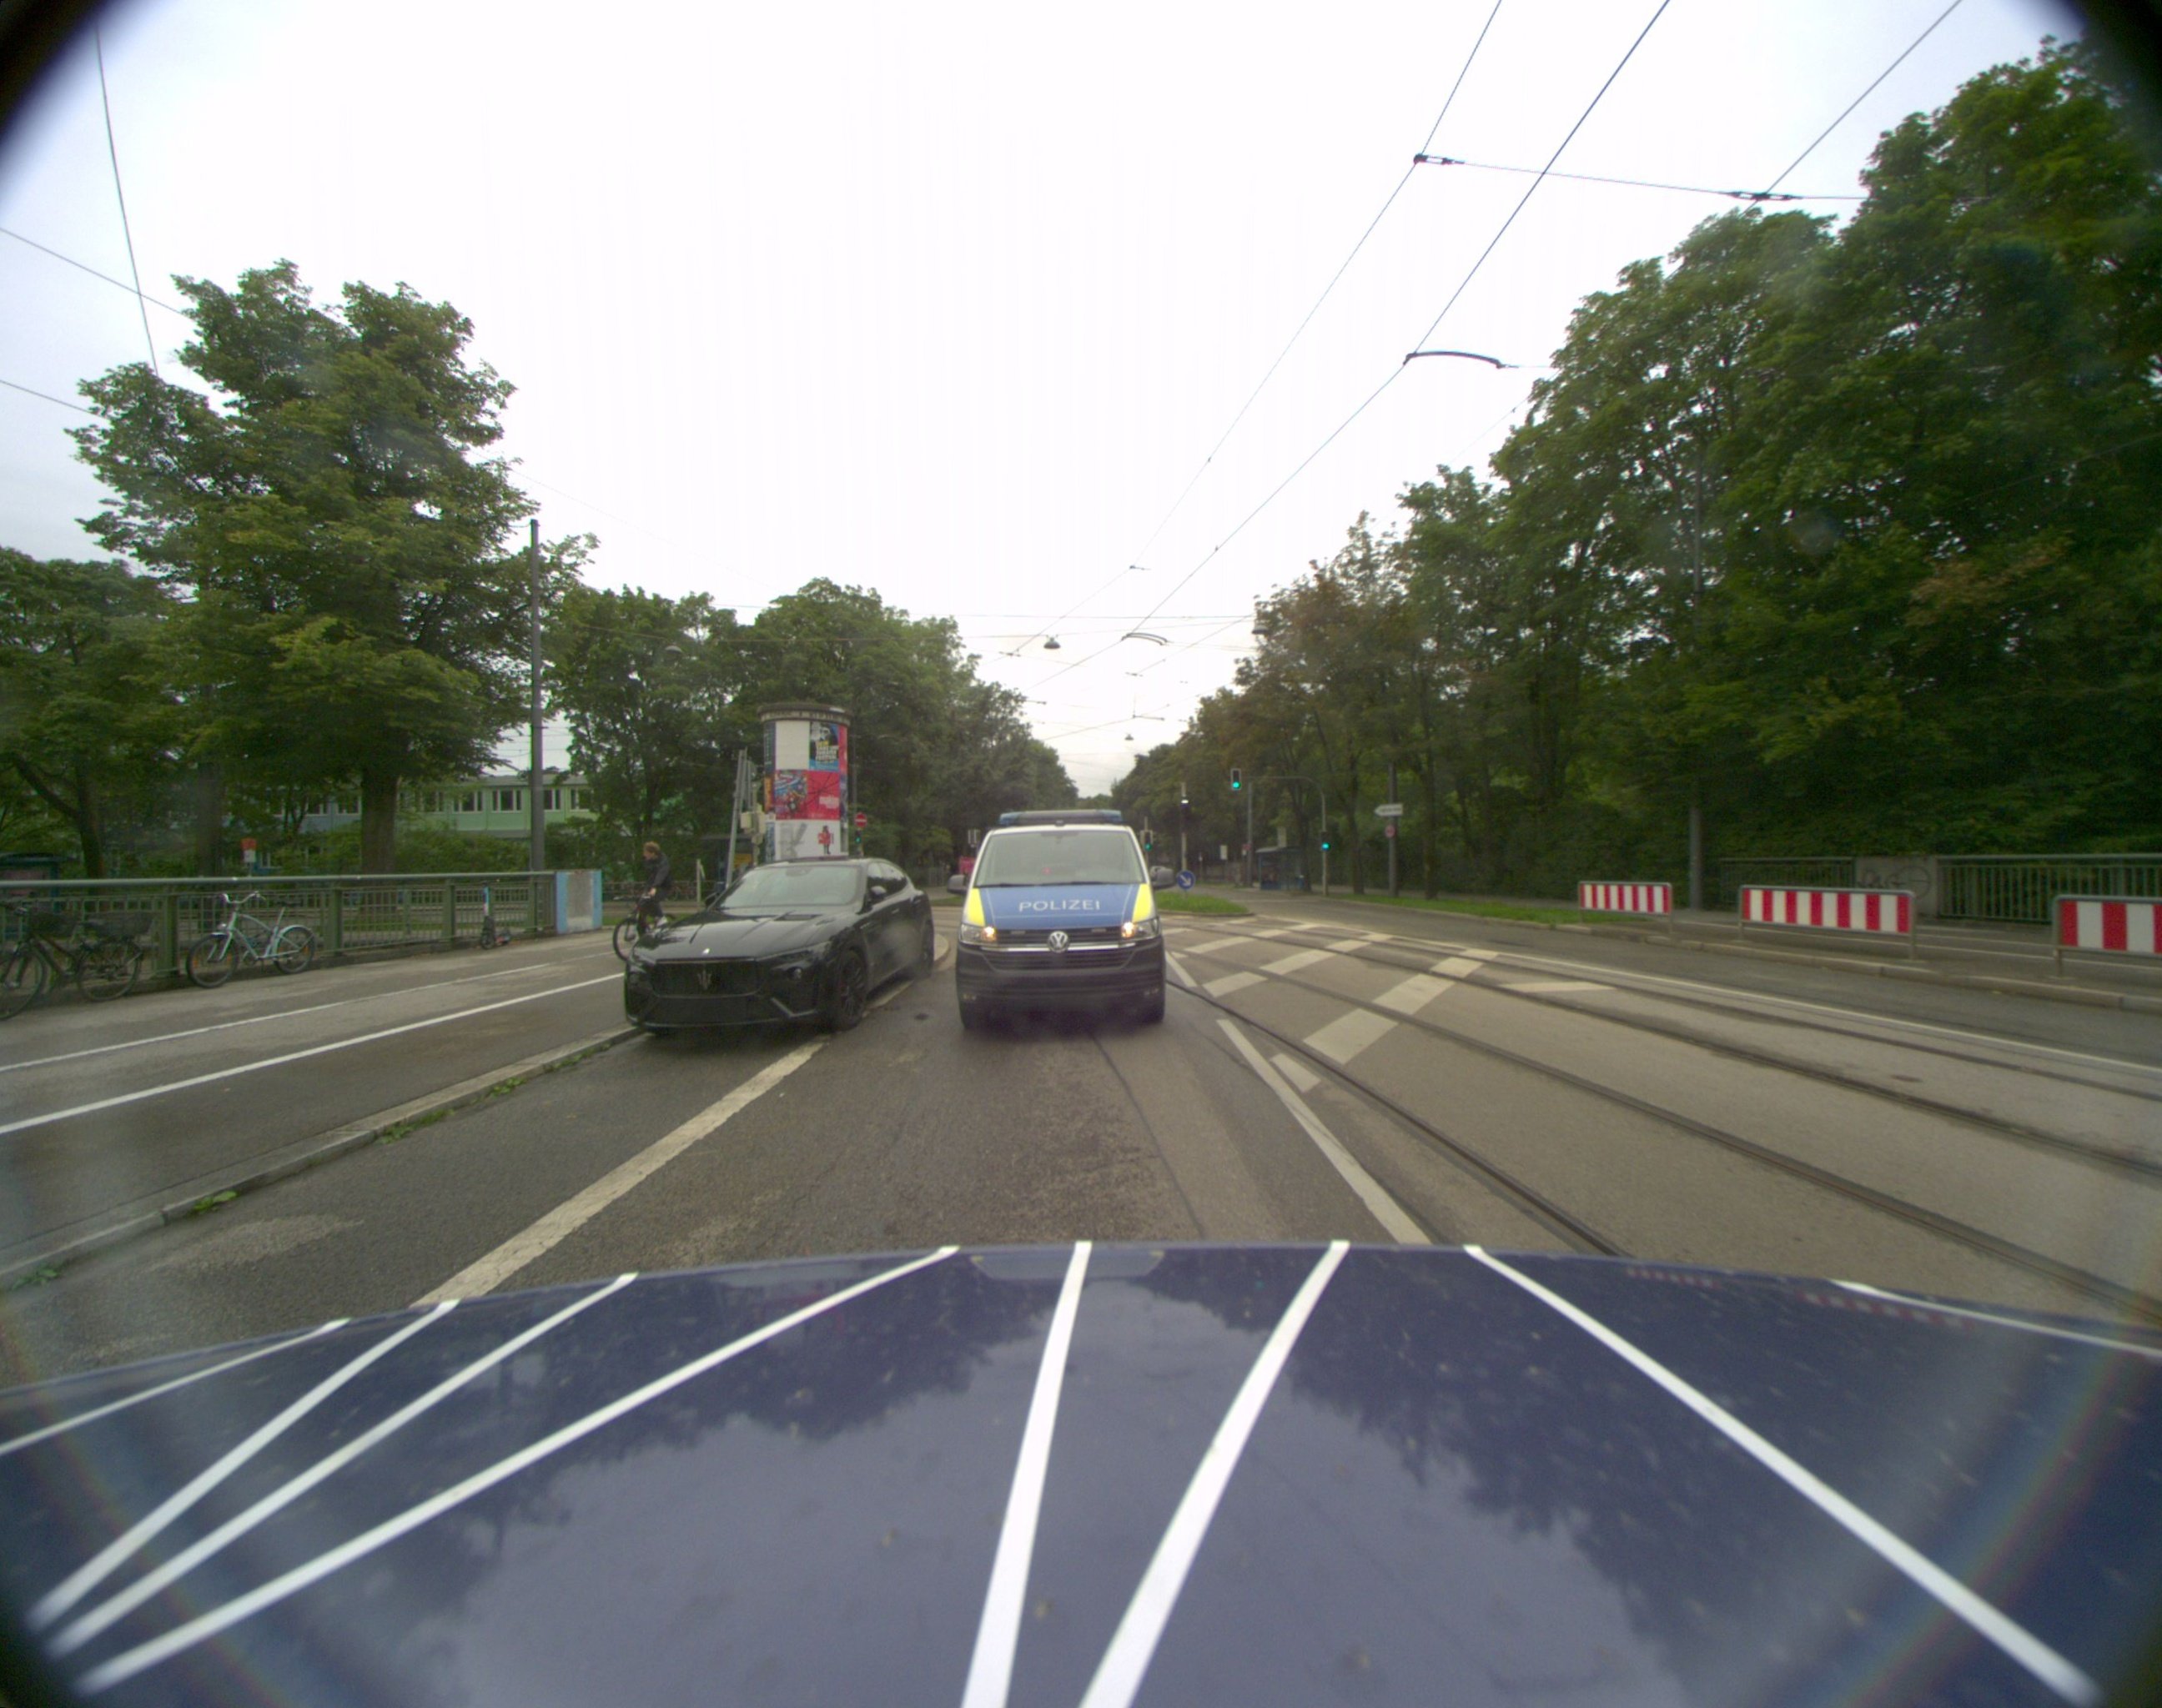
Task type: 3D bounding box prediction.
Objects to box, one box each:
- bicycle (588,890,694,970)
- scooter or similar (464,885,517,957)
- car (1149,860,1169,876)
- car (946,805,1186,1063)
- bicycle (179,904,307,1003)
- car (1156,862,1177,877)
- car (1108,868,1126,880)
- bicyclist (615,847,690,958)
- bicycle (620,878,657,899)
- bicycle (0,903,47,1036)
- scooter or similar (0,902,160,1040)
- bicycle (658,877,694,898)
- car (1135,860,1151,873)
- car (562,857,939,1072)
[{"bbox_3d":[-6.964,1.167,12.141,0.580,1.072,1.912,1,0,0],"label":"bicycle"},{"bbox_3d":[-10.648,1.181,13.733,0.225,1.205,1.020,-3,1,-8],"label":"scooter or similar"},{"bbox_3d":[9.324,1.674,91.070,1.888,1.716,3.999,-3,0,-1],"label":"car"},{"bbox_3d":[-0.165,0.632,8.942,1.903,2.041,5.708,-1,0,-1],"label":"car"},{"bbox_3d":[-10.750,1.235,9.807,0.265,1.076,1.540,-3,0,-14],"label":"bicycle"},{"bbox_3d":[9.612,1.723,85.646,1.888,1.531,3.999,-3,0,-1],"label":"car"},{"bbox_3d":[4.157,2.321,89.196,1.628,1.380,4.839,1,-1,-3],"label":"car"},{"bbox_3d":[-6.975,0.770,12.403,0.726,1.719,0.726,-3,1,0],"label":"bicyclist"},{"bbox_3d":[-20.825,1.638,35.766,1.483,0.946,0.373,-1,1,3],"label":"bicycle"},{"bbox_3d":[-10.601,1.140,7.113,0.283,1.274,1.408,-3,1,-19],"label":"bicycle"},{"bbox_3d":[-10.596,1.180,8.105,0.245,1.255,1.493,-3,1,-22],"label":"scooter or similar"},{"bbox_3d":[-18.893,1.564,35.466,1.483,0.946,0.373,-1,1,3],"label":"bicycle"},{"bbox_3d":[8.599,1.738,105.735,1.888,1.716,3.999,-3,0,-1],"label":"car"},{"bbox_3d":[-3.024,0.882,8.264,1.905,1.600,4.665,-3,0,1],"label":"car"}]
